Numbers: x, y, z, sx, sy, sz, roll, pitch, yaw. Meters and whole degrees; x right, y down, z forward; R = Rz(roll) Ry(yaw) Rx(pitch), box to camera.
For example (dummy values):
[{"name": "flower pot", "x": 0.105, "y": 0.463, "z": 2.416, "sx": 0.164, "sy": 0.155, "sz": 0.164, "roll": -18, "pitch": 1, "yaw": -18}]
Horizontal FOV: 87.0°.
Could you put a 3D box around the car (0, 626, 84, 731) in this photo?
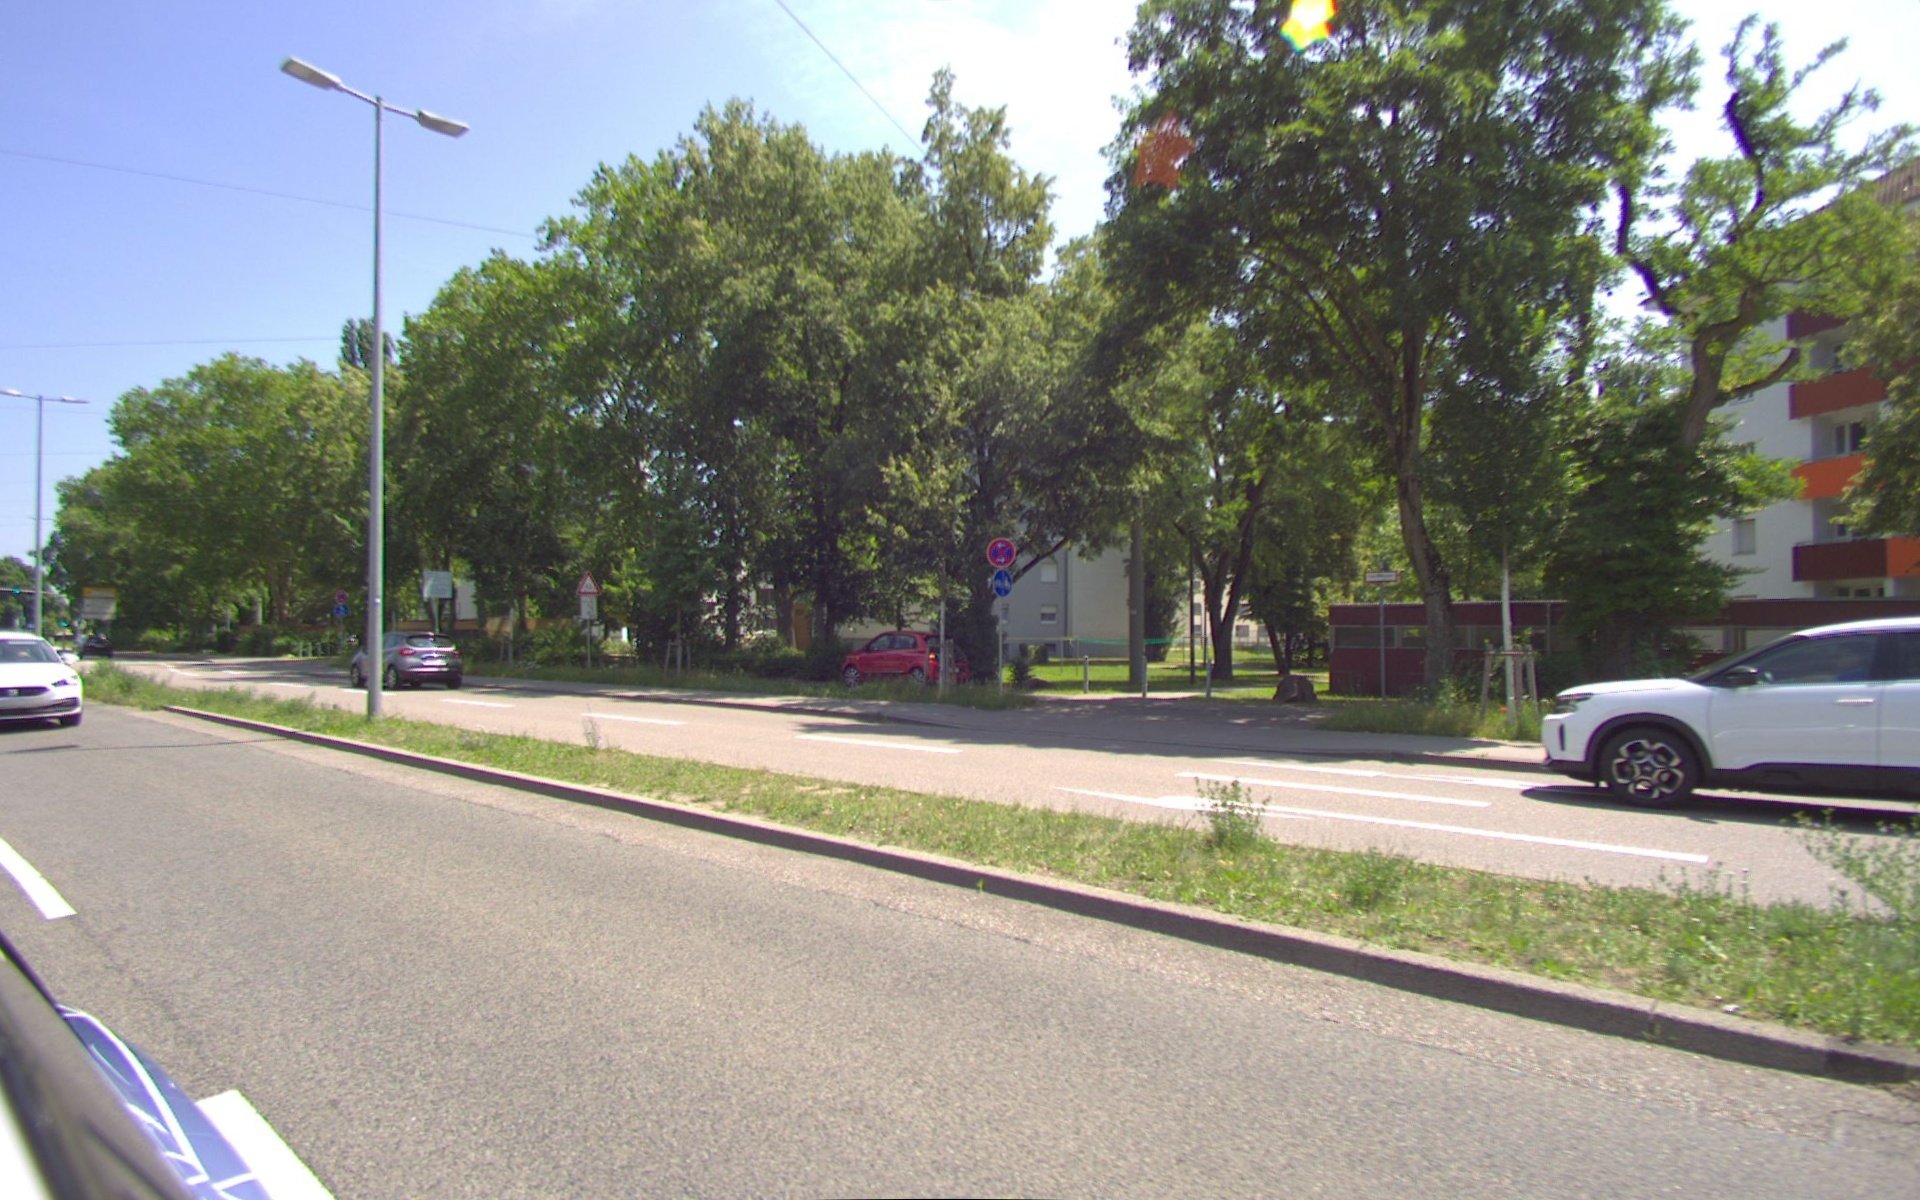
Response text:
[{"name": "car", "x": -15.160, "y": 1.166, "z": 15.707, "sx": 4.108, "sy": 1.479, "sz": 1.750, "roll": -2, "pitch": -1, "yaw": 40}]

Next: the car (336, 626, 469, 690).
[{"name": "car", "x": -15.281, "y": 1.558, "z": 27.661, "sx": 4.079, "sy": 1.566, "sz": 1.750, "roll": -1, "pitch": -4, "yaw": 39}]

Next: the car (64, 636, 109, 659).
[{"name": "car", "x": -59.208, "y": 3.184, "z": 68.589, "sx": 4.634, "sy": 1.520, "sz": 1.721, "roll": -2, "pitch": -3, "yaw": 42}]

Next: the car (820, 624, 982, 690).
[{"name": "car", "x": -1.589, "y": 1.463, "z": 26.579, "sx": 3.997, "sy": 1.597, "sz": 1.973, "roll": -2, "pitch": -3, "yaw": 41}]

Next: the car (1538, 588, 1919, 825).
[{"name": "car", "x": 7.541, "y": 0.835, "z": 8.452, "sx": 4.477, "sy": 1.772, "sz": 1.840, "roll": -1, "pitch": -3, "yaw": 40}]
